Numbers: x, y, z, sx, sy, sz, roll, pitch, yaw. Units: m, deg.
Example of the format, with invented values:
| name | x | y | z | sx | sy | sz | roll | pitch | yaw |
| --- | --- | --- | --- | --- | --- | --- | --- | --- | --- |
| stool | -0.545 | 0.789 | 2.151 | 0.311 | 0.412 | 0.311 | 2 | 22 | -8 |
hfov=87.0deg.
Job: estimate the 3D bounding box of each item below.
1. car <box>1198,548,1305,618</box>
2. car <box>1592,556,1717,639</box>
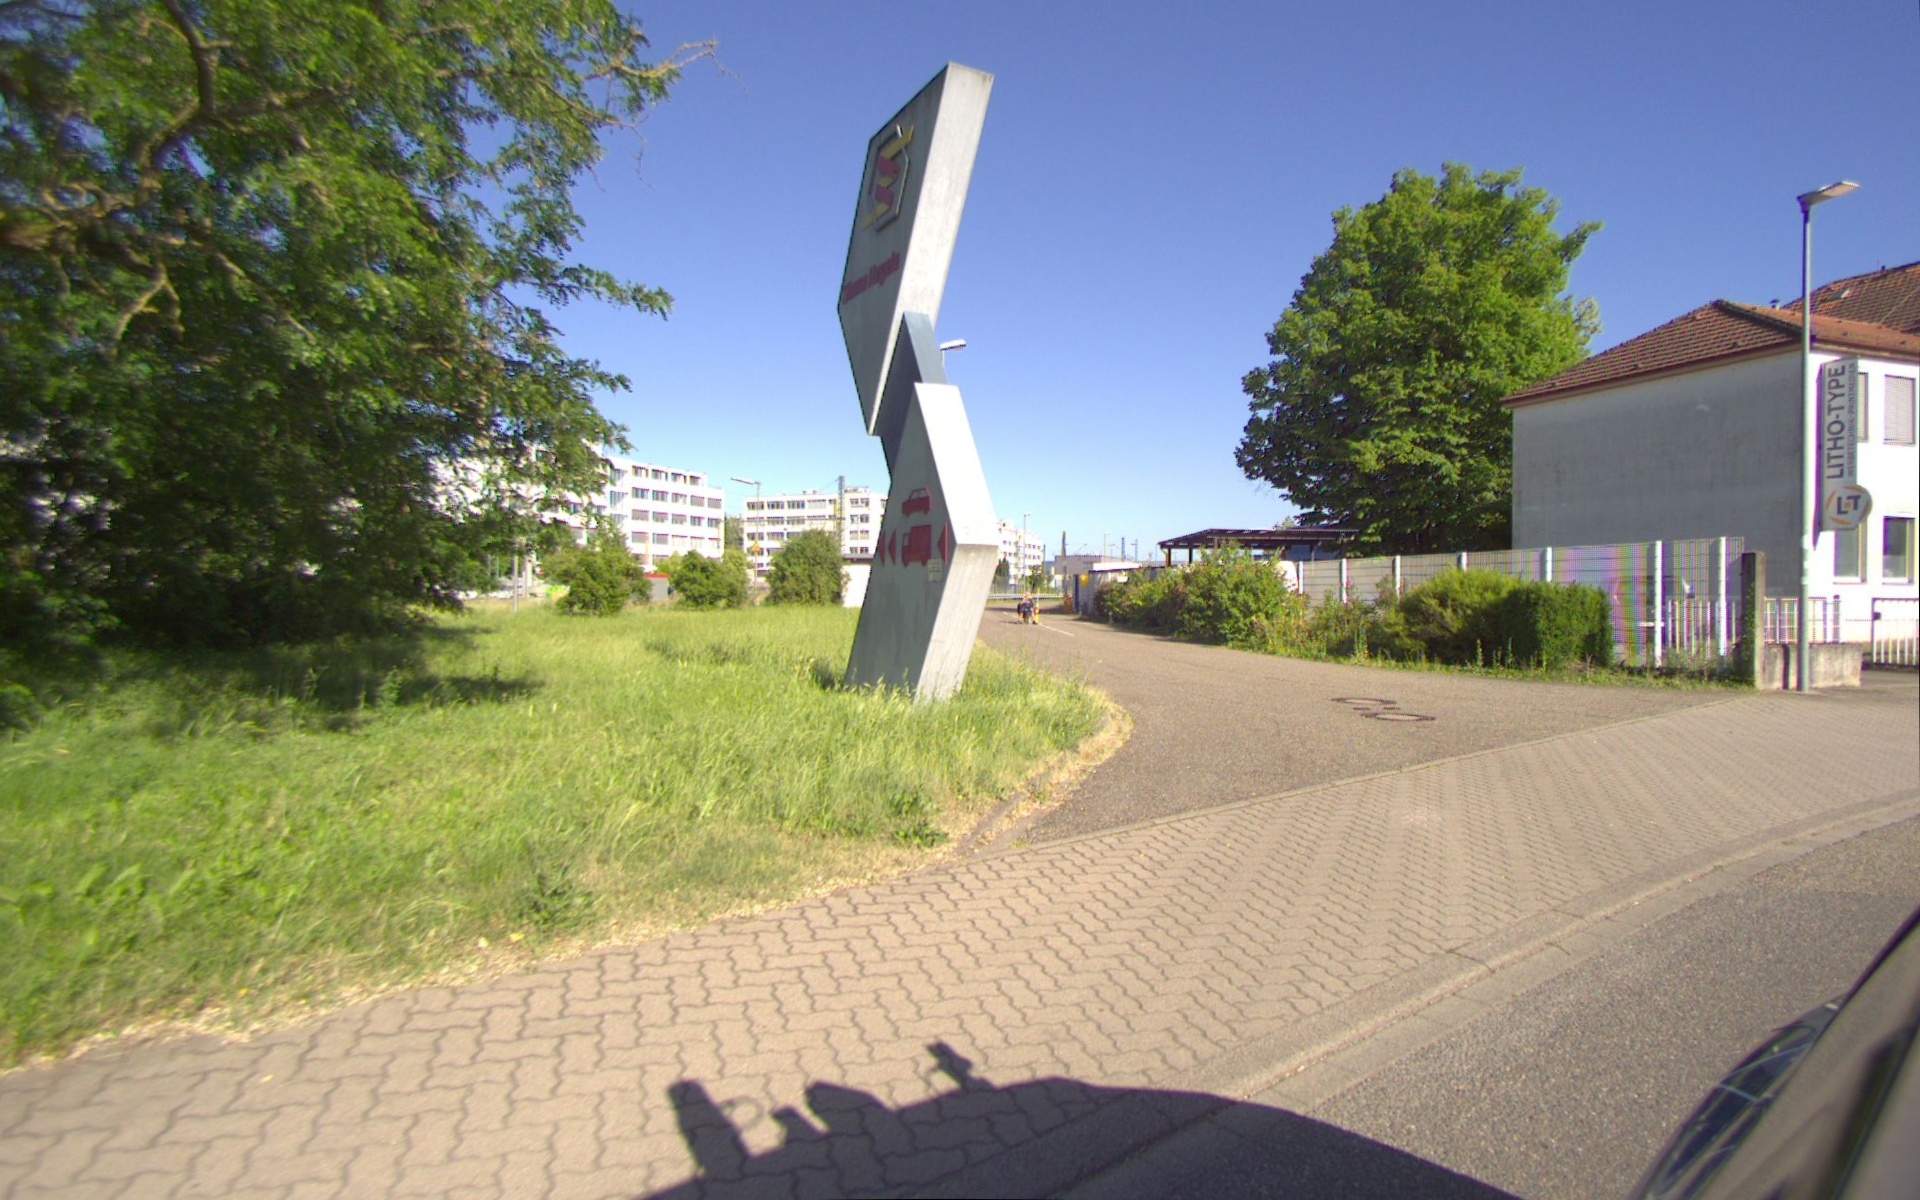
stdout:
| name | x | y | z | sx | sy | sz | roll | pitch | yaw |
| --- | --- | --- | --- | --- | --- | --- | --- | --- | --- |
| car | 11.355 | -0.700 | 39.879 | 1.800 | 2.573 | 5.045 | 0 | 1 | -13 |
| car | 16.523 | -0.111 | 24.292 | 1.982 | 1.800 | 4.322 | 1 | 1 | 28 |
